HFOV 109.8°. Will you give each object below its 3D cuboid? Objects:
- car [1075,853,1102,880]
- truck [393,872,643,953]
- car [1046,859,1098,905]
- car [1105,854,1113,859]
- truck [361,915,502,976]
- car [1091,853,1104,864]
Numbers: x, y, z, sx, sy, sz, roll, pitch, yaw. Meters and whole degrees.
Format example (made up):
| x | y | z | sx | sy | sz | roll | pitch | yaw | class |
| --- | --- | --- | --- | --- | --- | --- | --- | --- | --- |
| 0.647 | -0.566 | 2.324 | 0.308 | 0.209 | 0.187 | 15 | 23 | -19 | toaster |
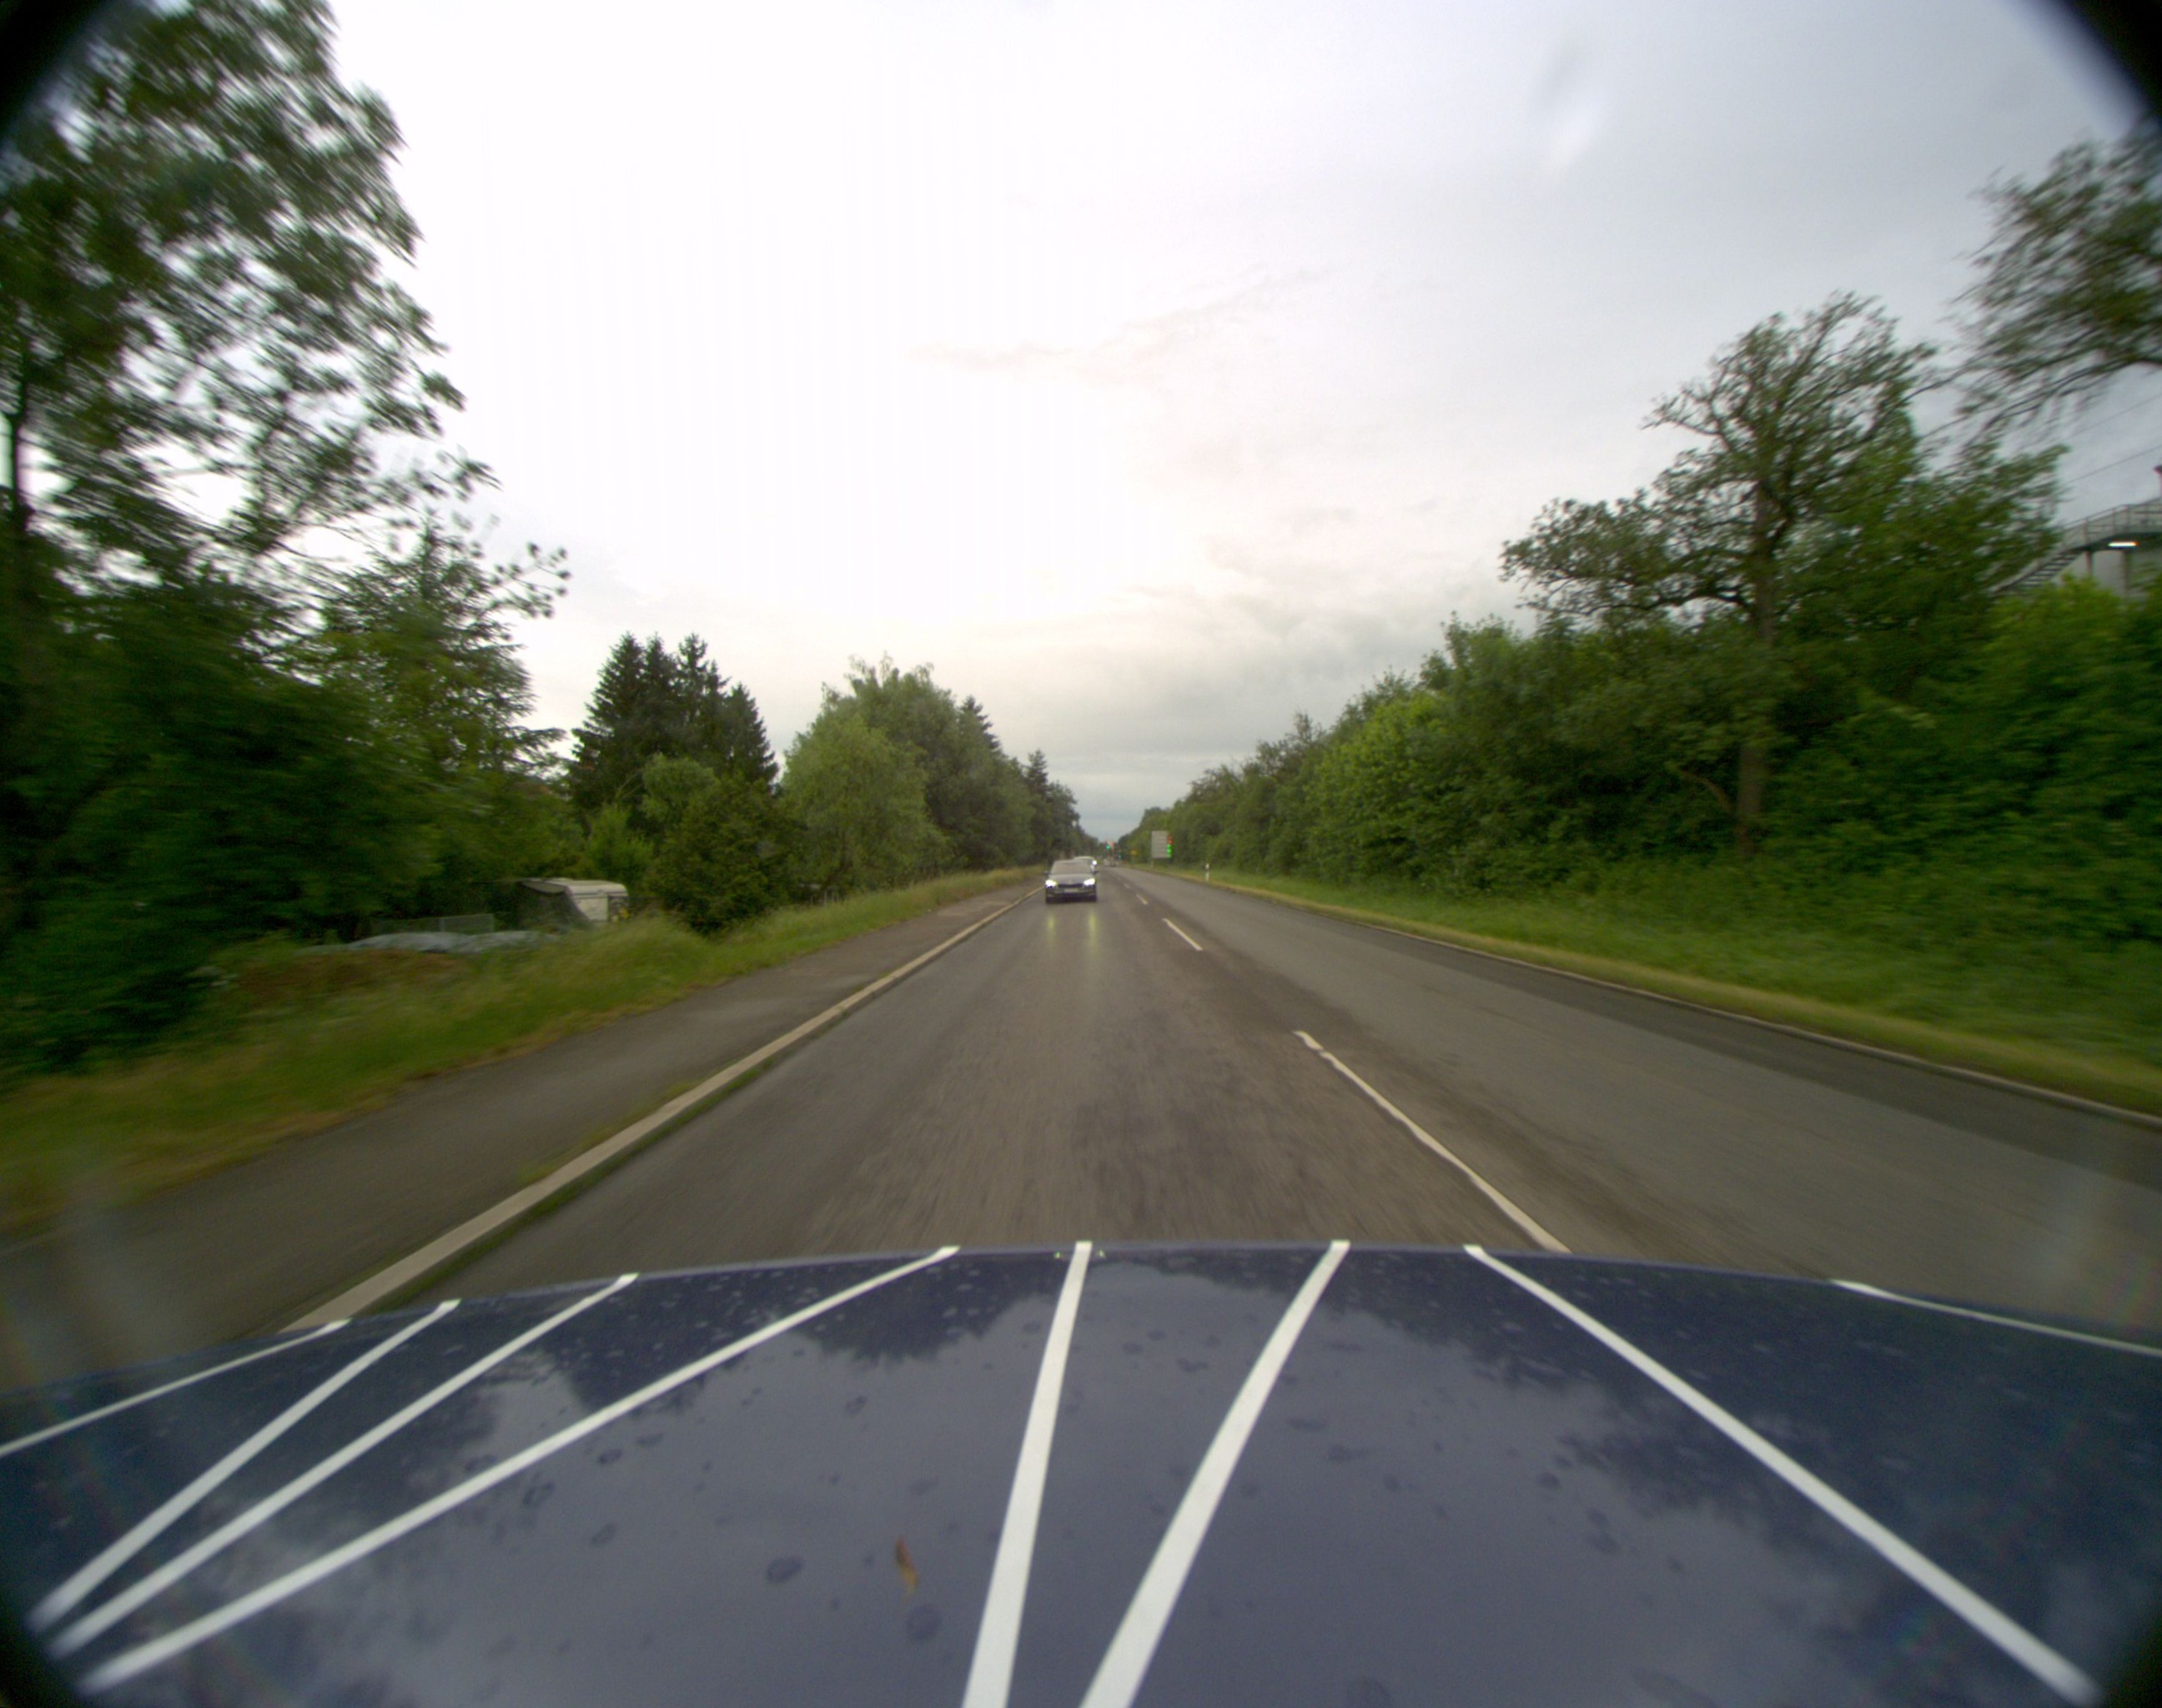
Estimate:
| x | y | z | sx | sy | sz | roll | pitch | yaw | class |
| --- | --- | --- | --- | --- | --- | --- | --- | --- | --- |
| 0.452 | 0.801 | 50.778 | 1.704 | 1.724 | 3.999 | -1 | 0 | 0 | car |
| -17.913 | 1.849 | 24.266 | 7.056 | 2.345 | 2.068 | -2 | 1 | 10 | truck |
| -0.278 | 0.954 | 27.611 | 1.675 | 1.477 | 4.215 | -3 | -1 | 1 | car |
| 7.170 | 0.680 | 194.494 | 1.896 | 1.346 | 4.382 | -1 | 0 | 0 | car |
| -17.283 | 2.404 | 20.294 | 2.357 | 1.389 | 1.760 | -1 | 0 | 13 | truck |
| 2.613 | 0.671 | 119.438 | 1.856 | 1.686 | 4.000 | 0 | 0 | 2 | car |
